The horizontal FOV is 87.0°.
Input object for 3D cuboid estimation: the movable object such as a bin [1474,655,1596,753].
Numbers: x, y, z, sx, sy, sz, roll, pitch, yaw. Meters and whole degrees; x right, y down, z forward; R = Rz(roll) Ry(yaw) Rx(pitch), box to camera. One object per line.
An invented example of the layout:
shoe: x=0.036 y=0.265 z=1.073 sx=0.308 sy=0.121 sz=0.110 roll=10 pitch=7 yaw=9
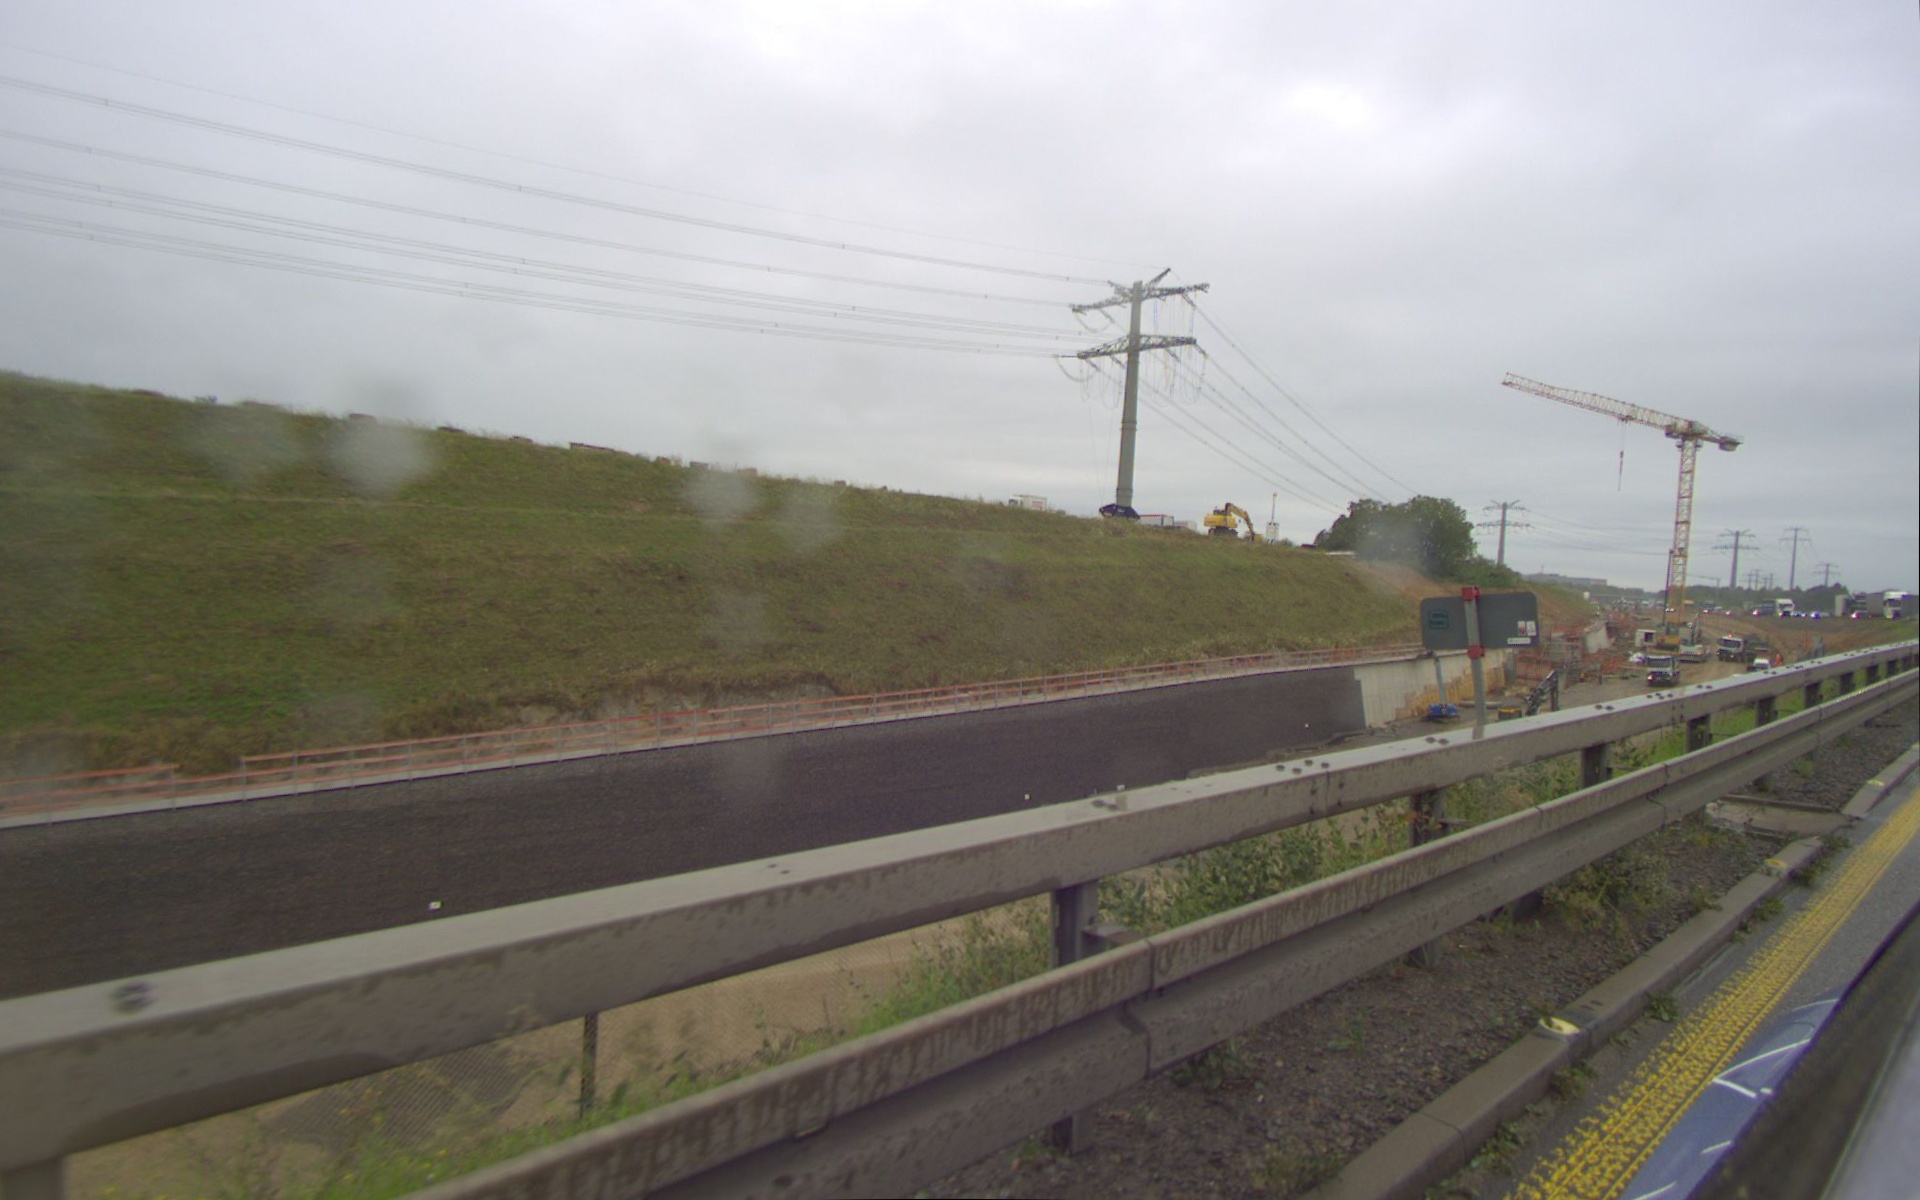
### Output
movable object such as a bin: x=43.391 y=7.533 z=76.090 sx=4.895 sy=5.740 sz=11.900 roll=-2 pitch=1 yaw=45

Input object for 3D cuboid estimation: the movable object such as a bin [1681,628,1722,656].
movable object such as a bin: x=103.981 y=5.797 z=141.899 sx=6.542 sy=3.467 sz=3.512 roll=-1 pitch=1 yaw=-43

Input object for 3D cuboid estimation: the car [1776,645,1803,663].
car: x=112.615 y=7.343 z=137.405 sx=3.934 sy=2.041 sz=1.993 roll=0 pitch=-13 yaw=-45

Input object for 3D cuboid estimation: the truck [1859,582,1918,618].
truck: x=117.606 y=0.013 z=128.366 sx=4.297 sy=4.400 sz=13.225 roll=-1 pitch=0 yaw=37

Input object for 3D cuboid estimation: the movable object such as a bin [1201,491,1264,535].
movable object such as a bin: x=30.453 y=-9.624 z=112.886 sx=8.043 sy=4.259 sz=3.102 roll=1 pitch=1 yaw=-44

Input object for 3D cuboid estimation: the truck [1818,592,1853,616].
truck: x=144.679 y=0.640 z=167.273 sx=3.526 sy=3.943 sz=8.228 roll=-1 pitch=0 yaw=36

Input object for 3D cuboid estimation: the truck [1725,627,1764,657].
truck: x=111.502 y=5.871 z=143.736 sx=3.354 sy=3.583 sz=8.767 roll=2 pitch=3 yaw=45

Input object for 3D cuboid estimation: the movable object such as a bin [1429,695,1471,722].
movable object such as a bin: x=42.123 y=9.309 z=86.954 sx=2.512 sy=1.935 sz=3.211 roll=-2 pitch=-1 yaw=39

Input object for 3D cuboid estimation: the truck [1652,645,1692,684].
truck: x=82.061 y=7.355 z=116.555 sx=2.701 sy=3.656 sz=8.939 roll=3 pitch=3 yaw=41
